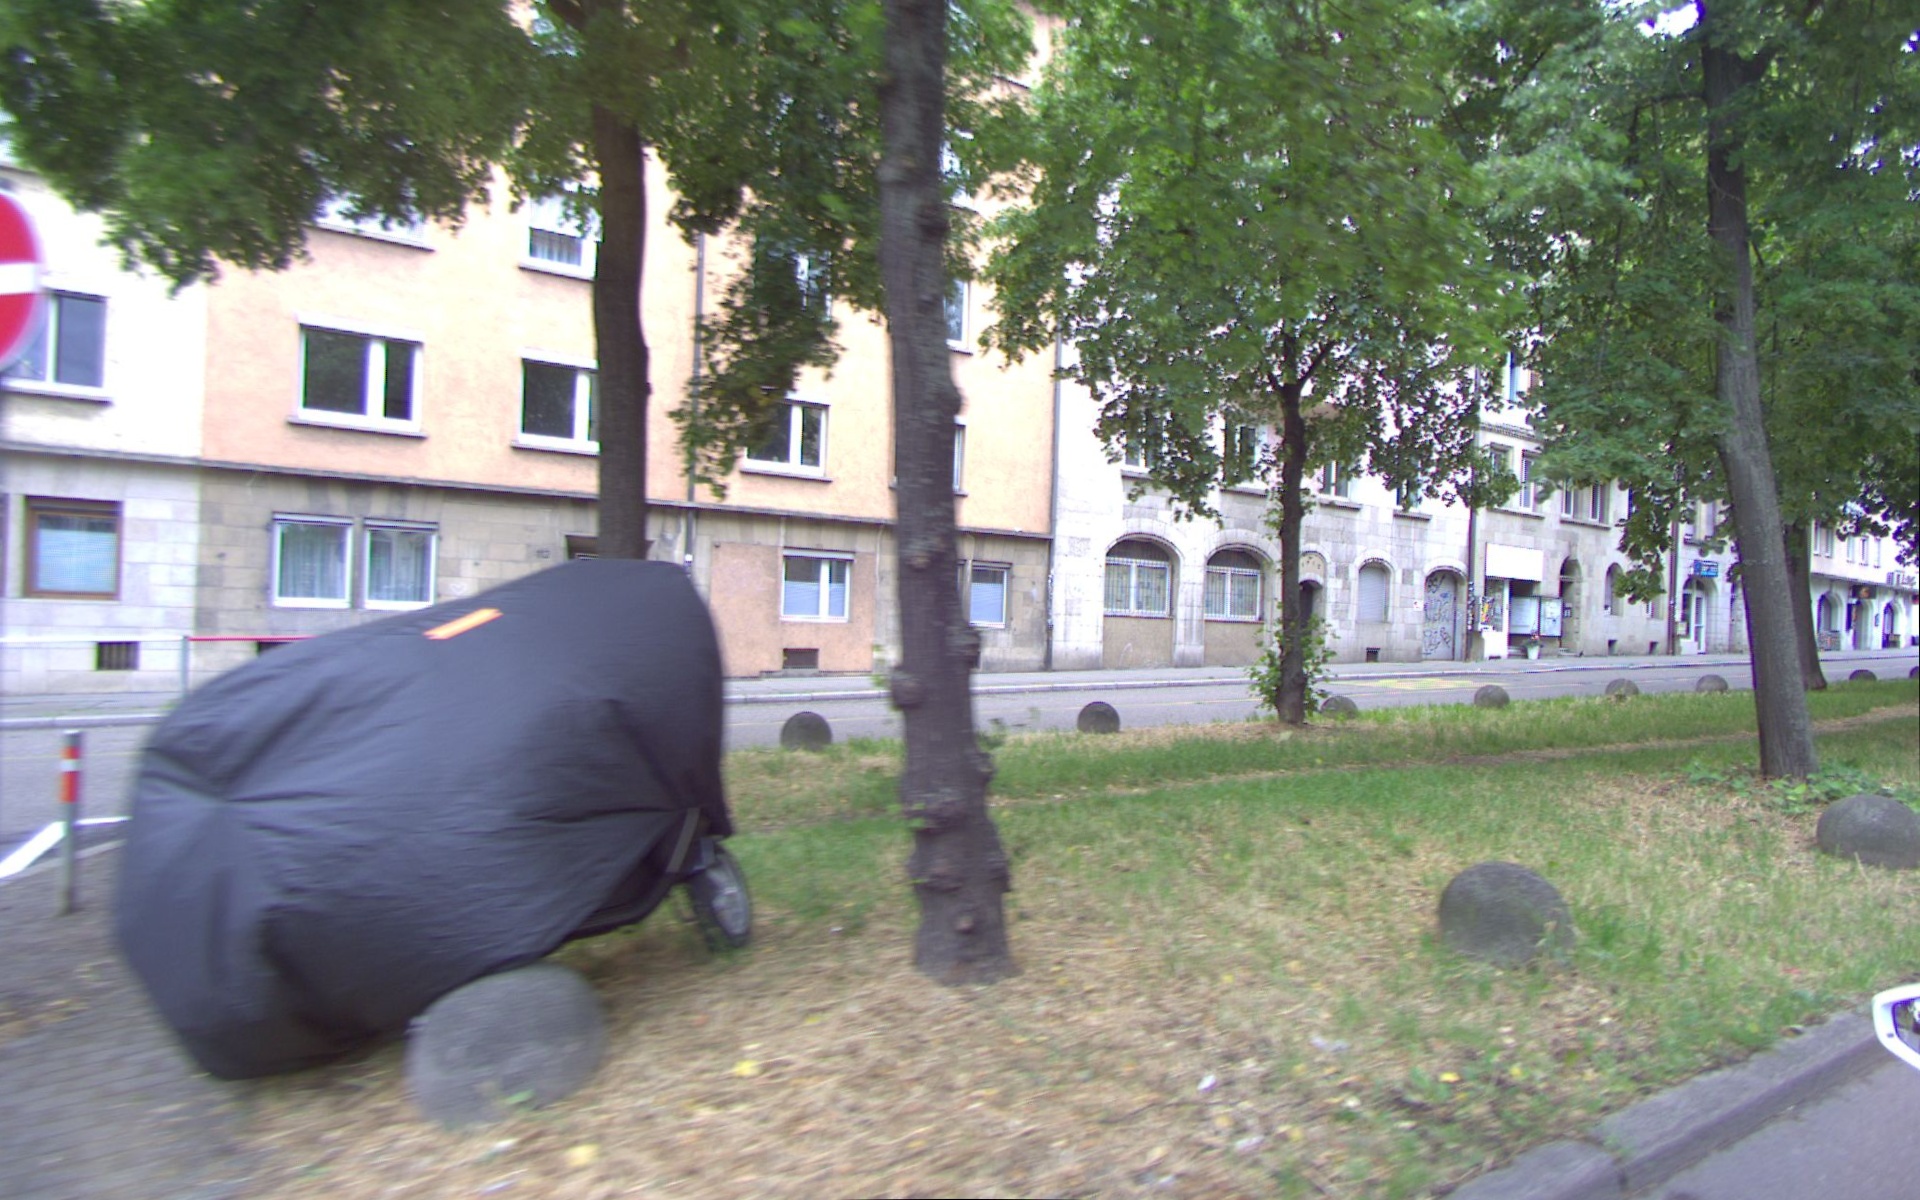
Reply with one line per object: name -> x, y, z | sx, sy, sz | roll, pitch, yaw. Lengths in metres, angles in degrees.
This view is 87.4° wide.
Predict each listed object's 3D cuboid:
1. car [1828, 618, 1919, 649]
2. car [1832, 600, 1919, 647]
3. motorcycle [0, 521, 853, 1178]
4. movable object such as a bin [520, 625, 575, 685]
car -> 53.420, 1.905, 58.207 | 2.025, 1.439, 4.262 | 1, 3, -33
car -> 59.669, 1.496, 64.621 | 2.162, 2.773, 5.123 | 1, 1, -43
motorcycle -> -1.713, 0.573, 3.166 | 2.591, 1.551, 0.820 | -2, 0, -29
movable object such as a bin -> -6.800, 0.897, 16.551 | 0.770, 0.939, 0.510 | 1, 1, -30
